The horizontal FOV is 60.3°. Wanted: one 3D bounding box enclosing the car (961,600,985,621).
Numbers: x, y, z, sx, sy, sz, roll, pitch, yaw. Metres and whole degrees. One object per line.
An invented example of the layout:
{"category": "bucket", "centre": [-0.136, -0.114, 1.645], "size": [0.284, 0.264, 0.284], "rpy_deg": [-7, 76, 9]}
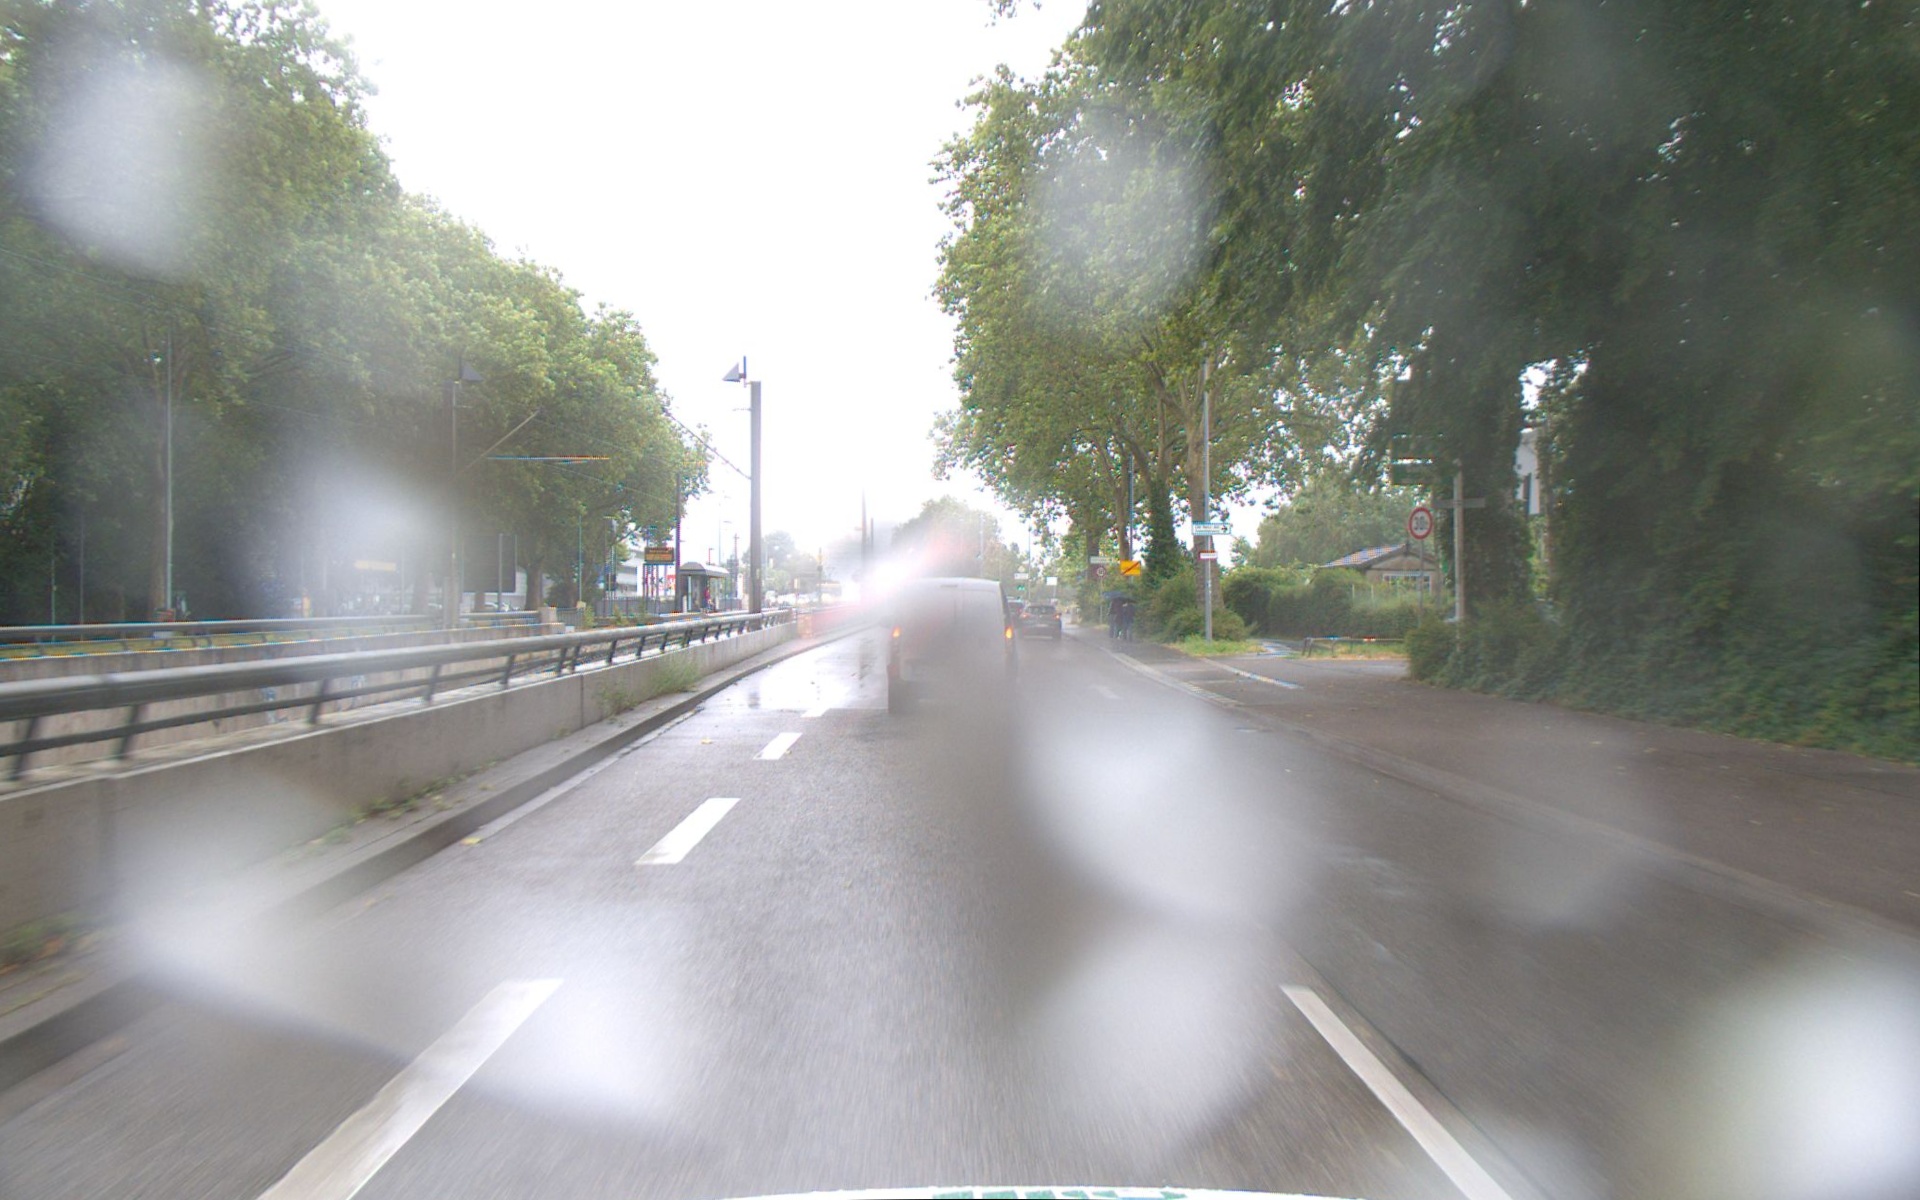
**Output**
{"category": "car", "centre": [1.171, 0.899, 148.617], "size": [1.953, 1.780, 3.999], "rpy_deg": [2, 0, -1]}

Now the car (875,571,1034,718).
{"category": "car", "centre": [-0.158, 0.577, 23.375], "size": [1.984, 1.806, 4.272], "rpy_deg": [2, 0, -3]}

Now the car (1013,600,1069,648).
{"category": "car", "centre": [3.203, 0.935, 66.227], "size": [1.953, 1.780, 4.000], "rpy_deg": [2, 0, 0]}

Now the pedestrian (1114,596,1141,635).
{"category": "pedestrian", "centre": [6.107, 0.562, 60.451], "size": [0.874, 1.415, 1.016], "rpy_deg": [-1, 0, 0]}

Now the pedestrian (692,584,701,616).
{"category": "pedestrian", "centre": [-16.925, 0.012, 106.196], "size": [0.484, 2.049, 0.581], "rpy_deg": [2, -1, -9]}

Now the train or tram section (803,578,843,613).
{"category": "train or tram section", "centre": [-17.604, -0.481, 214.660], "size": [3.694, 4.107, 27.080], "rpy_deg": [2, 0, -2]}

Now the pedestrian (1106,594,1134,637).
{"category": "pedestrian", "centre": [6.041, 0.592, 62.561], "size": [0.927, 1.617, 1.294], "rpy_deg": [0, 0, 0]}

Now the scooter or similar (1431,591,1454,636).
{"category": "scooter or similar", "centre": [12.739, 0.359, 43.695], "size": [0.449, 1.137, 1.276], "rpy_deg": [2, 0, 12]}

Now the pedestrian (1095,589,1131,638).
{"category": "pedestrian", "centre": [5.957, 0.512, 64.488], "size": [1.215, 1.817, 1.147], "rpy_deg": [-3, 0, 0]}
